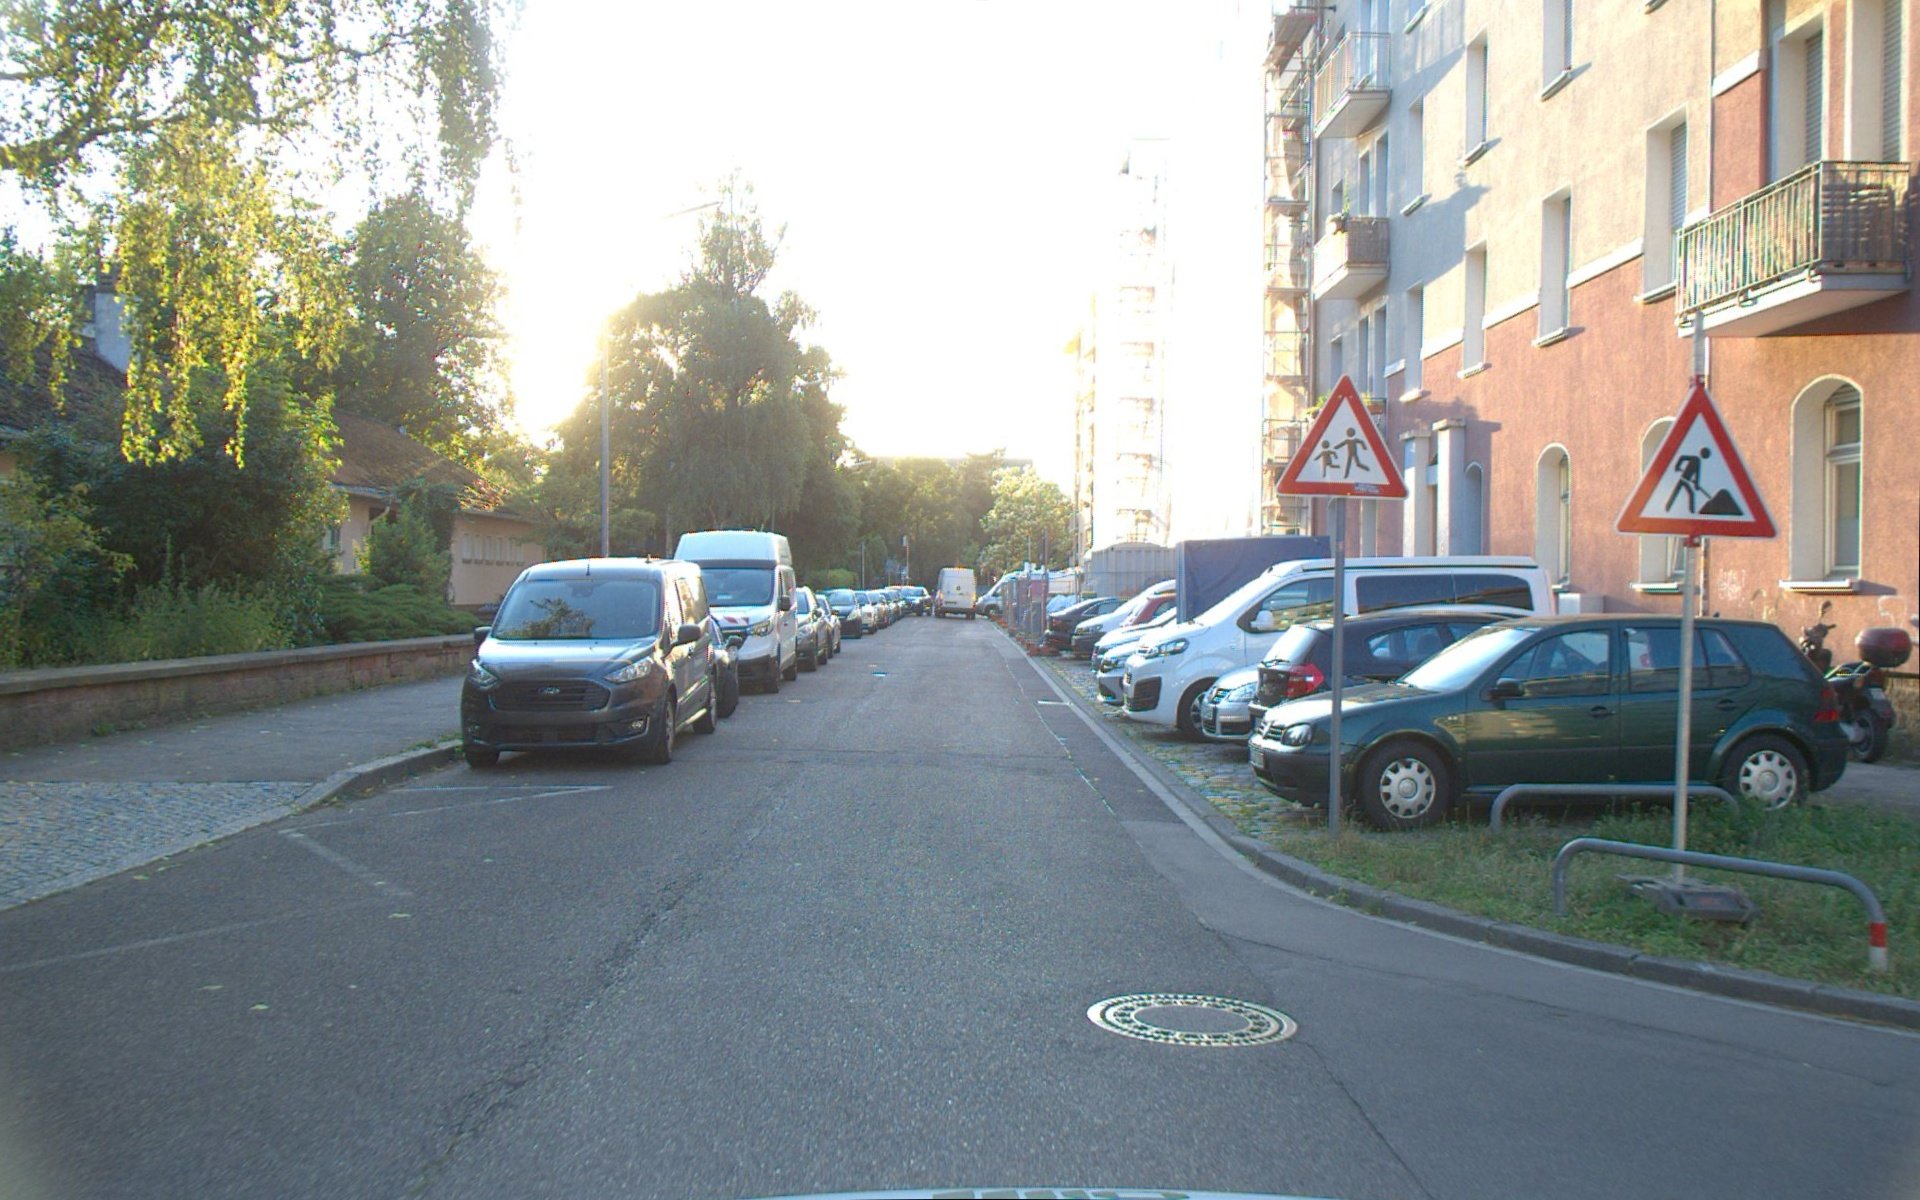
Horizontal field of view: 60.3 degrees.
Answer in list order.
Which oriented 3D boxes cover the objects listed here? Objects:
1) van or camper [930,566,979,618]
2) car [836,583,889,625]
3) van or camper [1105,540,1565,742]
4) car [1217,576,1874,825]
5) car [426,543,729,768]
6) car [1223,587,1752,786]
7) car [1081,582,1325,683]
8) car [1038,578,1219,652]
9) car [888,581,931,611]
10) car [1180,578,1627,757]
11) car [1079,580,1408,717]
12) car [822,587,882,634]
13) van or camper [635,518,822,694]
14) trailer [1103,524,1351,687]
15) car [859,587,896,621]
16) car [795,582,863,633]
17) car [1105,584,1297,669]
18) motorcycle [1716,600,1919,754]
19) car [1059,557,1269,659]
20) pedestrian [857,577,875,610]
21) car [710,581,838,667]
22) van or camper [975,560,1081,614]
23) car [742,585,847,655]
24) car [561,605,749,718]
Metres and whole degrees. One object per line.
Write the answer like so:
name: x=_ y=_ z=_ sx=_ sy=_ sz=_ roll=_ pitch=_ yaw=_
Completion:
van or camper: x=-0.283 y=-0.459 z=89.232 sx=2.404 sy=2.591 sz=6.083 roll=3 pitch=0 yaw=0
car: x=-3.781 y=0.125 z=64.830 sx=1.822 sy=1.565 sz=4.758 roll=-1 pitch=0 yaw=-1
van or camper: x=4.132 y=0.431 z=18.795 sx=4.736 sy=2.133 sz=2.040 roll=1 pitch=1 yaw=-1
car: x=4.027 y=0.663 z=11.822 sx=4.020 sy=1.613 sz=1.853 roll=1 pitch=0 yaw=-4
car: x=-3.459 y=0.420 z=15.955 sx=1.871 sy=1.819 sz=4.948 roll=0 pitch=1 yaw=-2
car: x=4.411 y=0.692 z=14.291 sx=3.907 sy=1.556 sz=1.999 roll=1 pitch=0 yaw=-2
car: x=4.180 y=0.536 z=28.841 sx=3.908 sy=1.666 sz=1.902 roll=1 pitch=0 yaw=-4
car: x=3.901 y=0.332 z=38.832 sx=4.067 sy=1.644 sz=1.872 roll=1 pitch=0 yaw=1
car: x=-2.787 y=-0.219 z=92.238 sx=1.766 sy=1.597 sz=4.569 roll=0 pitch=0 yaw=7
car: x=4.316 y=0.626 z=16.549 sx=3.907 sy=1.646 sz=1.999 roll=1 pitch=0 yaw=-2
car: x=3.603 y=0.601 z=21.571 sx=3.907 sy=1.668 sz=1.999 roll=1 pitch=0 yaw=-2
car: x=-3.647 y=0.329 z=56.369 sx=1.746 sy=1.471 sz=4.748 roll=-2 pitch=0 yaw=-1
van or camper: x=-3.571 y=0.043 z=26.716 sx=1.952 sy=2.499 sz=6.085 roll=1 pitch=1 yaw=2
trailer: x=4.168 y=0.066 z=26.221 sx=3.496 sy=2.377 sz=1.940 roll=-2 pitch=1 yaw=-4
car: x=-3.765 y=0.157 z=75.877 sx=1.568 sy=1.456 sz=3.803 roll=-2 pitch=0 yaw=-2
car: x=-3.978 y=0.205 z=50.725 sx=1.954 sy=1.478 sz=3.998 roll=1 pitch=1 yaw=-3
car: x=4.865 y=0.521 z=33.702 sx=3.618 sy=1.638 sz=1.744 roll=1 pitch=0 yaw=-3
motorcycle: x=7.970 y=0.654 z=15.302 sx=0.727 sy=1.257 sz=2.653 roll=1 pitch=1 yaw=0
car: x=4.420 y=0.137 z=36.075 sx=4.186 sy=2.014 sz=1.819 roll=-2 pitch=2 yaw=-8
pedestrian: x=-5.391 y=-0.362 z=94.766 sx=0.919 sy=1.862 sz=0.786 roll=2 pitch=0 yaw=-2
car: x=-3.605 y=0.424 z=32.878 sx=1.953 sy=1.545 sz=4.789 roll=1 pitch=1 yaw=0
van or camper: x=3.794 y=-0.729 z=93.199 sx=5.808 sy=2.818 sz=2.109 roll=2 pitch=0 yaw=-1
car: x=-3.766 y=0.425 z=38.261 sx=1.953 sy=1.478 sz=4.288 roll=1 pitch=1 yaw=0
car: x=-3.736 y=0.715 z=20.908 sx=1.955 sy=1.210 sz=4.032 roll=1 pitch=1 yaw=-5
